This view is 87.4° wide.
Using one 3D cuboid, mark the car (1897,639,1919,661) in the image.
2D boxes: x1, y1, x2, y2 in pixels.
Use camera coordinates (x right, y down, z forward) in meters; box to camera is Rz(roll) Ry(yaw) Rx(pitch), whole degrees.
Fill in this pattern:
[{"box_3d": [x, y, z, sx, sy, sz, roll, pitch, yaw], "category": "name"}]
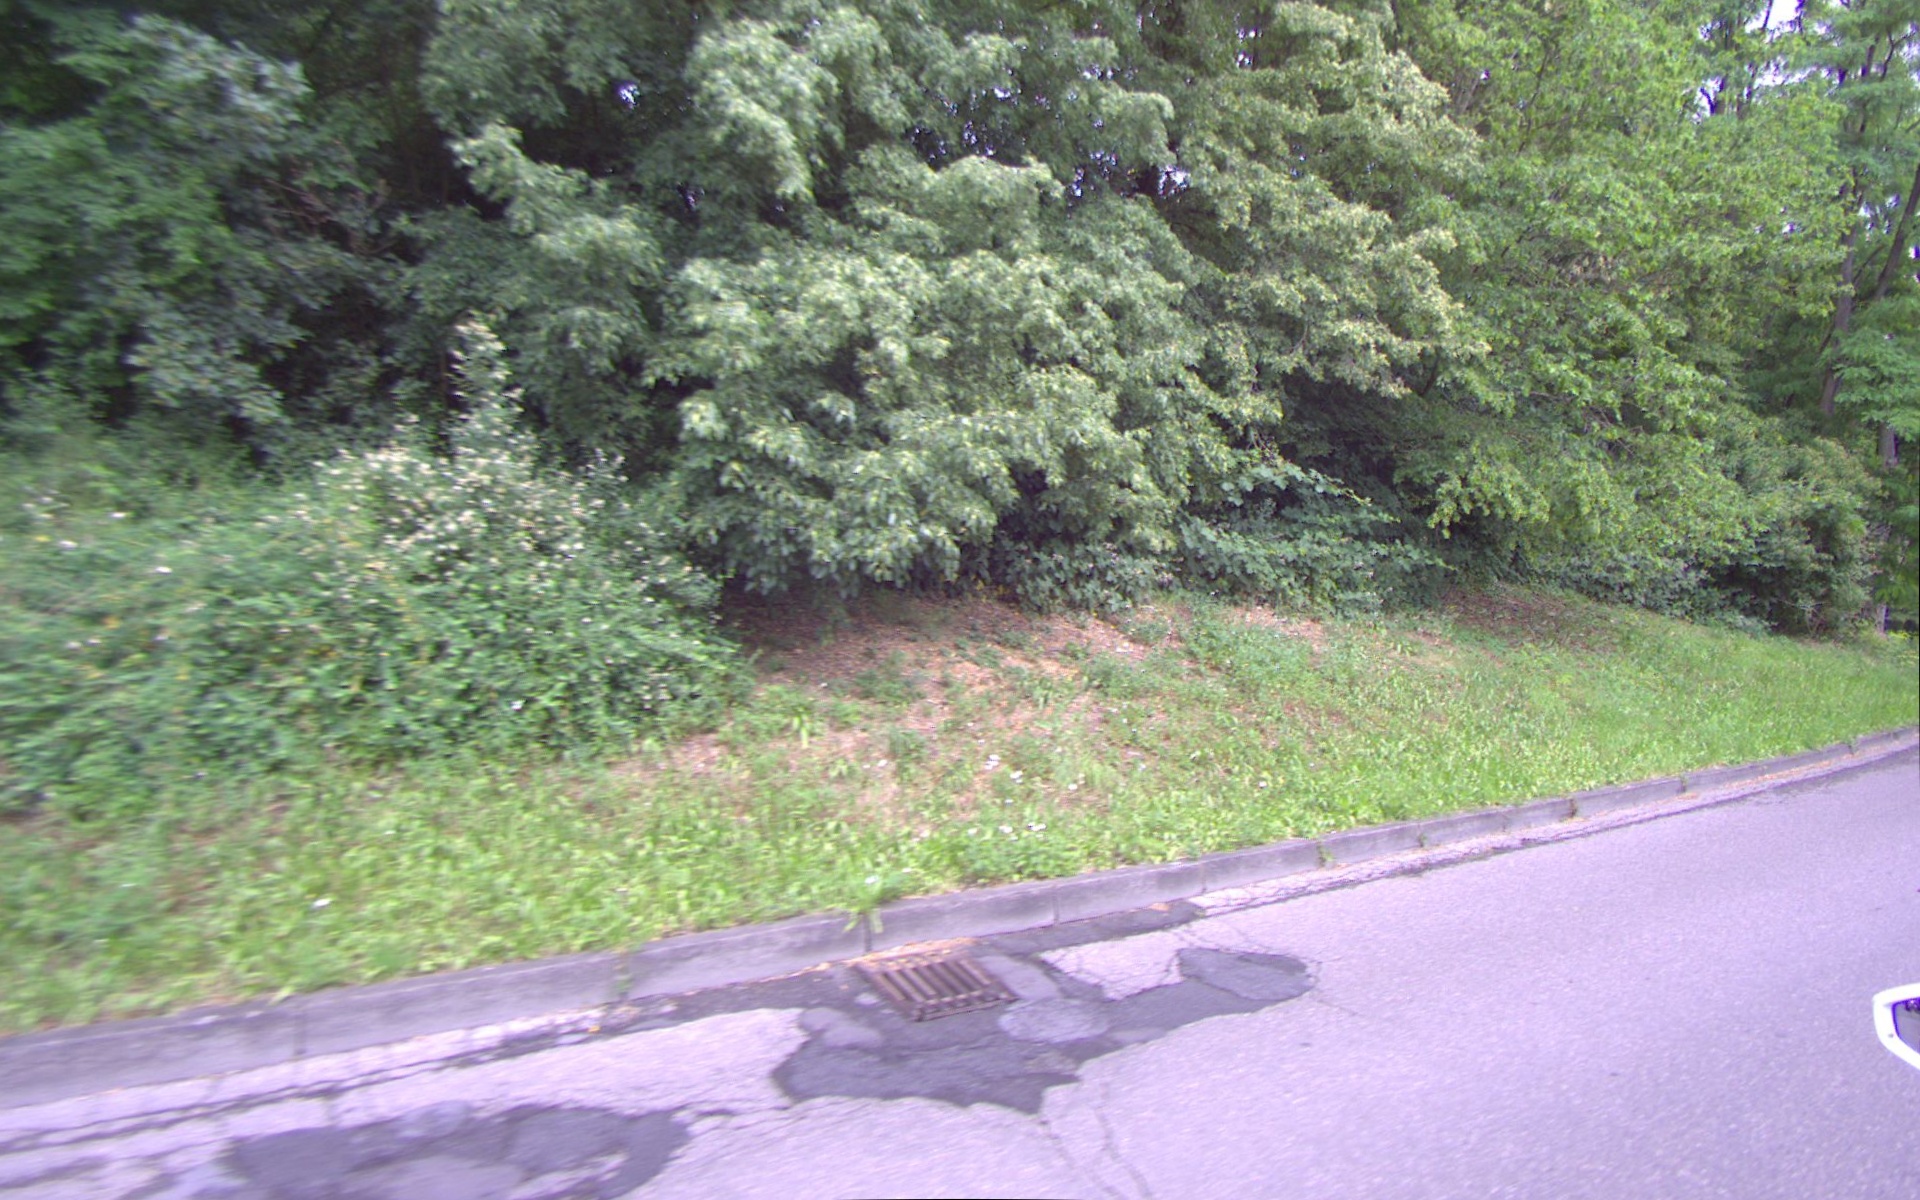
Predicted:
[{"box_3d": [60.374, 3.169, 62.434, 1.722, 1.354, 4.413, 3, -1, 25], "category": "car"}]
